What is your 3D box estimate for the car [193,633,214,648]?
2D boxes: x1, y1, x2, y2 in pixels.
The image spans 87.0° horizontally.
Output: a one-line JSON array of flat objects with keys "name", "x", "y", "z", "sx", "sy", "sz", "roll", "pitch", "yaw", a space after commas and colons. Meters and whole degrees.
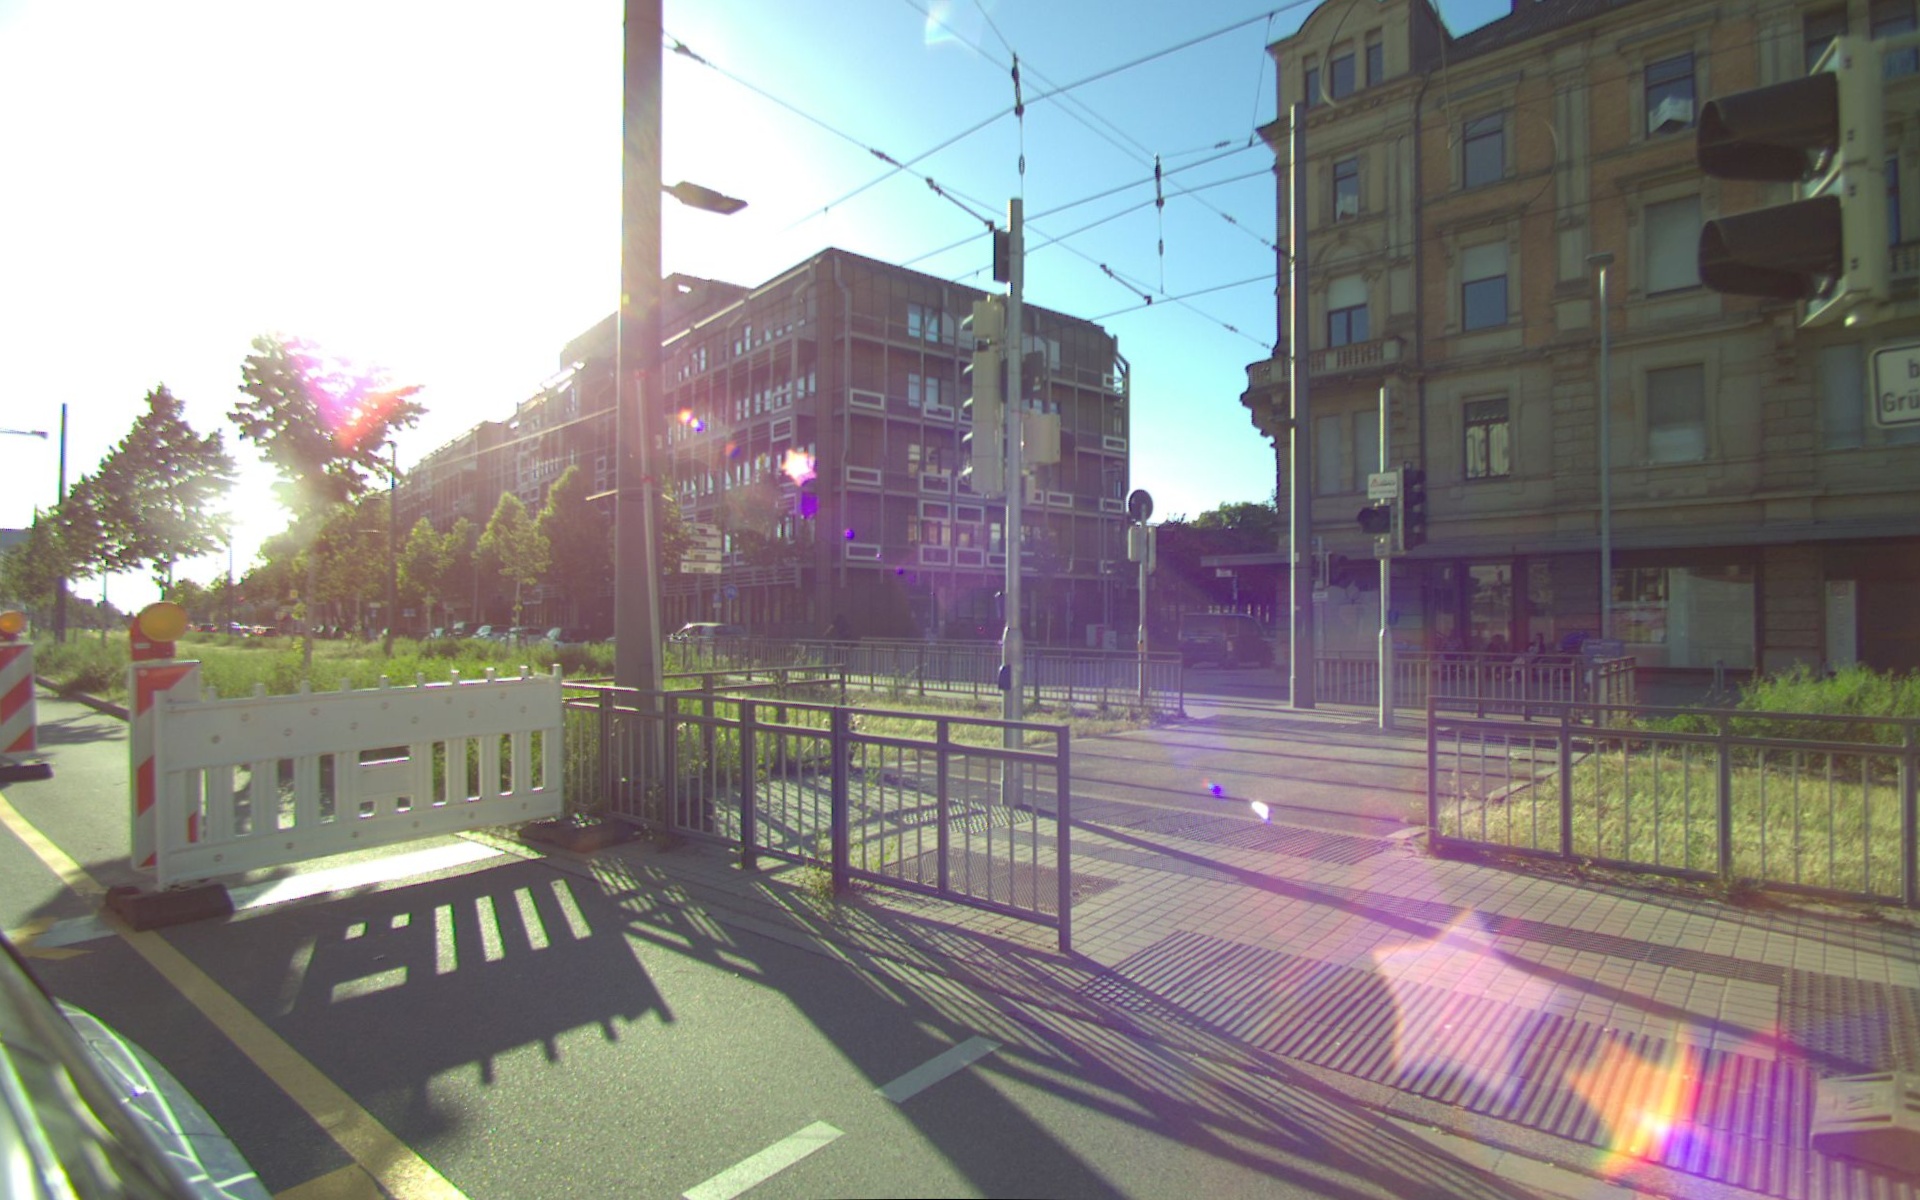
[{"name": "car", "x": -95.640, "y": 5.114, "z": 127.879, "sx": 1.707, "sy": 1.760, "sz": 4.125, "roll": 1, "pitch": -2, "yaw": -43}]

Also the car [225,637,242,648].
[{"name": "car", "x": -102.977, "y": 5.989, "z": 143.411, "sx": 1.608, "sy": 1.507, "sz": 3.784, "roll": 2, "pitch": -3, "yaw": -41}]

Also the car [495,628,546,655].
[{"name": "car", "x": -25.193, "y": 2.388, "z": 57.979, "sx": 1.605, "sy": 1.452, "sz": 3.824, "roll": 0, "pitch": -2, "yaw": -41}]

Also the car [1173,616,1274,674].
[{"name": "car", "x": 9.326, "y": 1.568, "z": 35.600, "sx": 1.895, "sy": 1.918, "sz": 4.468, "roll": -2, "pitch": -3, "yaw": 36}]

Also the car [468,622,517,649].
[{"name": "car", "x": -28.624, "y": 2.192, "z": 61.930, "sx": 1.716, "sy": 1.548, "sz": 3.889, "roll": 0, "pitch": -2, "yaw": -41}]

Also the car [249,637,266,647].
[{"name": "car", "x": -100.681, "y": 6.029, "z": 144.980, "sx": 1.607, "sy": 1.507, "sz": 4.424, "roll": 2, "pitch": -3, "yaw": -39}]

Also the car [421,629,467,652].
[{"name": "car", "x": -35.523, "y": 2.782, "z": 69.613, "sx": 1.708, "sy": 1.480, "sz": 4.509, "roll": -1, "pitch": -2, "yaw": -42}]

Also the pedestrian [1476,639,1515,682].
[{"name": "pedestrian", "x": 13.907, "y": 1.558, "z": 26.264, "sx": 0.736, "sy": 1.067, "sz": 0.683, "roll": -2, "pitch": -2, "yaw": 42}]

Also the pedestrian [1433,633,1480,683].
[{"name": "pedestrian", "x": 12.816, "y": 1.481, "z": 26.136, "sx": 0.929, "sy": 1.256, "sz": 0.683, "roll": -2, "pitch": -2, "yaw": 42}]

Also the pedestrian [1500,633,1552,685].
[{"name": "pedestrian", "x": 13.781, "y": 1.415, "z": 24.632, "sx": 0.929, "sy": 1.217, "sz": 0.782, "roll": -2, "pitch": -2, "yaw": 42}]

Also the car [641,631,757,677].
[{"name": "car", "x": -8.743, "y": 1.777, "z": 33.765, "sx": 4.068, "sy": 1.431, "sz": 1.833, "roll": -2, "pitch": -4, "yaw": 42}]

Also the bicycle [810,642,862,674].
[{"name": "bicycle", "x": -4.093, "y": 1.894, "z": 33.308, "sx": 1.827, "sy": 0.985, "sz": 0.687, "roll": -2, "pitch": -2, "yaw": 42}]

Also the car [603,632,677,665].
[{"name": "car", "x": -15.178, "y": 2.265, "z": 47.885, "sx": 3.902, "sy": 1.472, "sz": 1.710, "roll": -2, "pitch": -1, "yaw": 45}]

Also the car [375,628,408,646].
[{"name": "car", "x": -45.488, "y": 2.981, "z": 80.977, "sx": 1.694, "sy": 1.398, "sz": 4.047, "roll": 1, "pitch": -2, "yaw": -38}]

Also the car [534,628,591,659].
[{"name": "car", "x": -21.279, "y": 2.310, "z": 54.076, "sx": 1.629, "sy": 1.566, "sz": 3.972, "roll": 1, "pitch": -2, "yaw": -41}]

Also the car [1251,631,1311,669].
[{"name": "car", "x": 13.054, "y": 2.013, "z": 41.077, "sx": 1.381, "sy": 1.479, "sz": 3.115, "roll": -2, "pitch": -3, "yaw": 36}]

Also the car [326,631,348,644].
[{"name": "car", "x": -74.193, "y": 4.470, "z": 120.522, "sx": 1.701, "sy": 1.555, "sz": 3.636, "roll": -1, "pitch": -1, "yaw": -41}]

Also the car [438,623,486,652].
[{"name": "car", "x": -32.264, "y": 2.464, "z": 65.535, "sx": 1.729, "sy": 1.785, "sz": 4.337, "roll": 0, "pitch": -2, "yaw": -41}]

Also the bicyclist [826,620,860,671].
[{"name": "bicyclist", "x": -3.869, "y": 1.493, "z": 33.426, "sx": 0.882, "sy": 1.670, "sz": 0.687, "roll": -2, "pitch": -2, "yaw": 42}]

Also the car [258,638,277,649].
[{"name": "car", "x": -94.086, "y": 5.877, "z": 137.416, "sx": 1.695, "sy": 1.398, "sz": 4.045, "roll": 1, "pitch": -2, "yaw": -41}]

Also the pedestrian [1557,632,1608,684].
[{"name": "pedestrian", "x": 14.983, "y": 1.385, "z": 24.367, "sx": 0.929, "sy": 1.217, "sz": 0.683, "roll": -2, "pitch": -2, "yaw": 42}]
